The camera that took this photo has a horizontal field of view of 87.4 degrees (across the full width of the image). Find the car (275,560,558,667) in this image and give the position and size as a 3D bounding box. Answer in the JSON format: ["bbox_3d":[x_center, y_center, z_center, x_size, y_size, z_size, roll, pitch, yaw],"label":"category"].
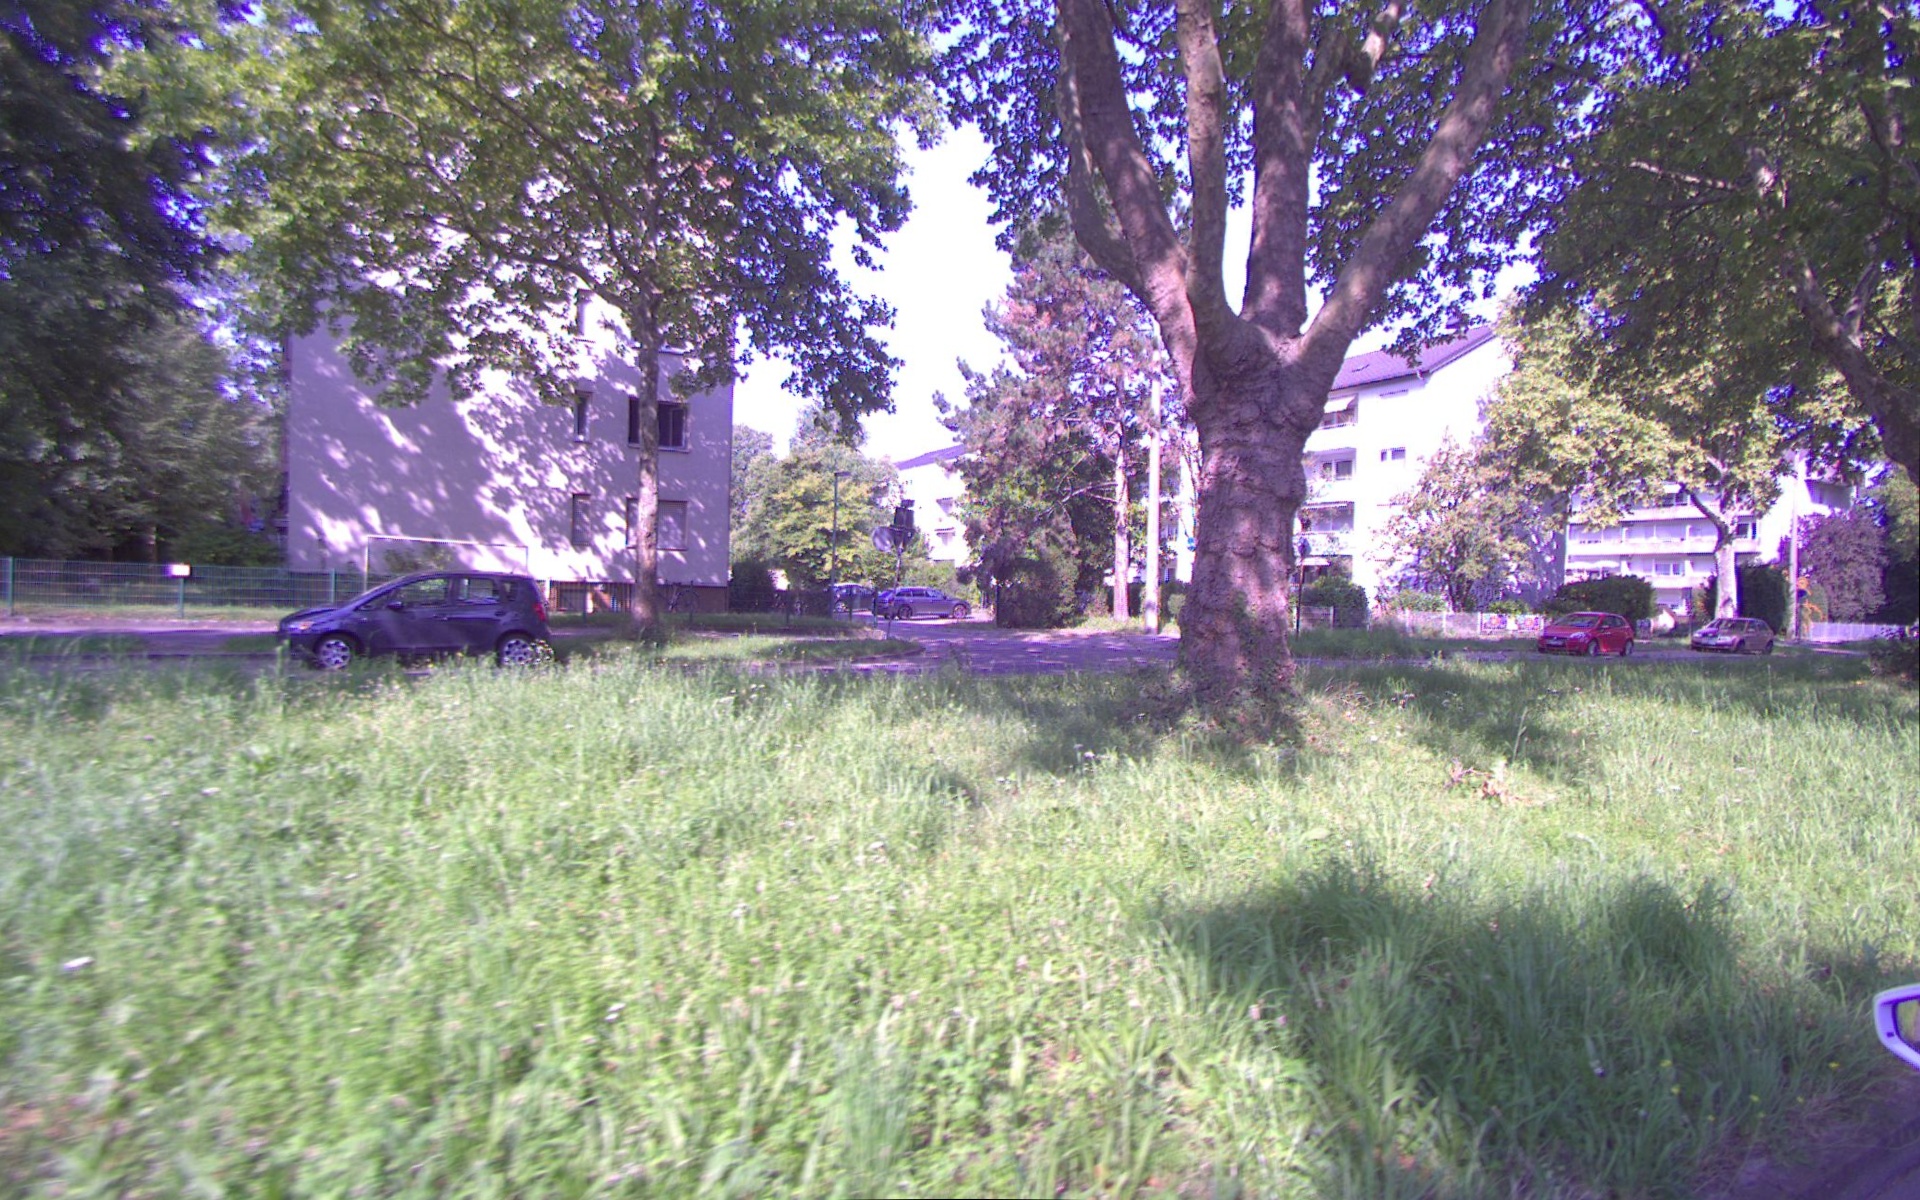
[{"bbox_3d":[-8.688,0.253,16.254,3.820,1.553,1.514,2,0,-32],"label":"car"}]

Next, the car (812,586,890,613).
[{"bbox_3d":[-5.995,-0.019,55.401,3.953,1.350,1.640,2,1,-30],"label":"car"}]

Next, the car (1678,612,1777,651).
[{"bbox_3d":[31.250,1.283,40.880,4.017,1.449,1.793,1,1,-31],"label":"car"}]

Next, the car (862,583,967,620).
[{"bbox_3d":[-2.056,0.078,45.845,4.392,1.490,1.837,2,1,-27],"label":"car"}]

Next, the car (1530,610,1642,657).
[{"bbox_3d":[21.364,1.154,34.253,4.017,1.471,1.531,2,1,-31],"label":"car"}]

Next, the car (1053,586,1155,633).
[{"bbox_3d":[6.428,0.409,44.791,4.210,1.926,1.837,2,1,-27],"label":"car"}]
